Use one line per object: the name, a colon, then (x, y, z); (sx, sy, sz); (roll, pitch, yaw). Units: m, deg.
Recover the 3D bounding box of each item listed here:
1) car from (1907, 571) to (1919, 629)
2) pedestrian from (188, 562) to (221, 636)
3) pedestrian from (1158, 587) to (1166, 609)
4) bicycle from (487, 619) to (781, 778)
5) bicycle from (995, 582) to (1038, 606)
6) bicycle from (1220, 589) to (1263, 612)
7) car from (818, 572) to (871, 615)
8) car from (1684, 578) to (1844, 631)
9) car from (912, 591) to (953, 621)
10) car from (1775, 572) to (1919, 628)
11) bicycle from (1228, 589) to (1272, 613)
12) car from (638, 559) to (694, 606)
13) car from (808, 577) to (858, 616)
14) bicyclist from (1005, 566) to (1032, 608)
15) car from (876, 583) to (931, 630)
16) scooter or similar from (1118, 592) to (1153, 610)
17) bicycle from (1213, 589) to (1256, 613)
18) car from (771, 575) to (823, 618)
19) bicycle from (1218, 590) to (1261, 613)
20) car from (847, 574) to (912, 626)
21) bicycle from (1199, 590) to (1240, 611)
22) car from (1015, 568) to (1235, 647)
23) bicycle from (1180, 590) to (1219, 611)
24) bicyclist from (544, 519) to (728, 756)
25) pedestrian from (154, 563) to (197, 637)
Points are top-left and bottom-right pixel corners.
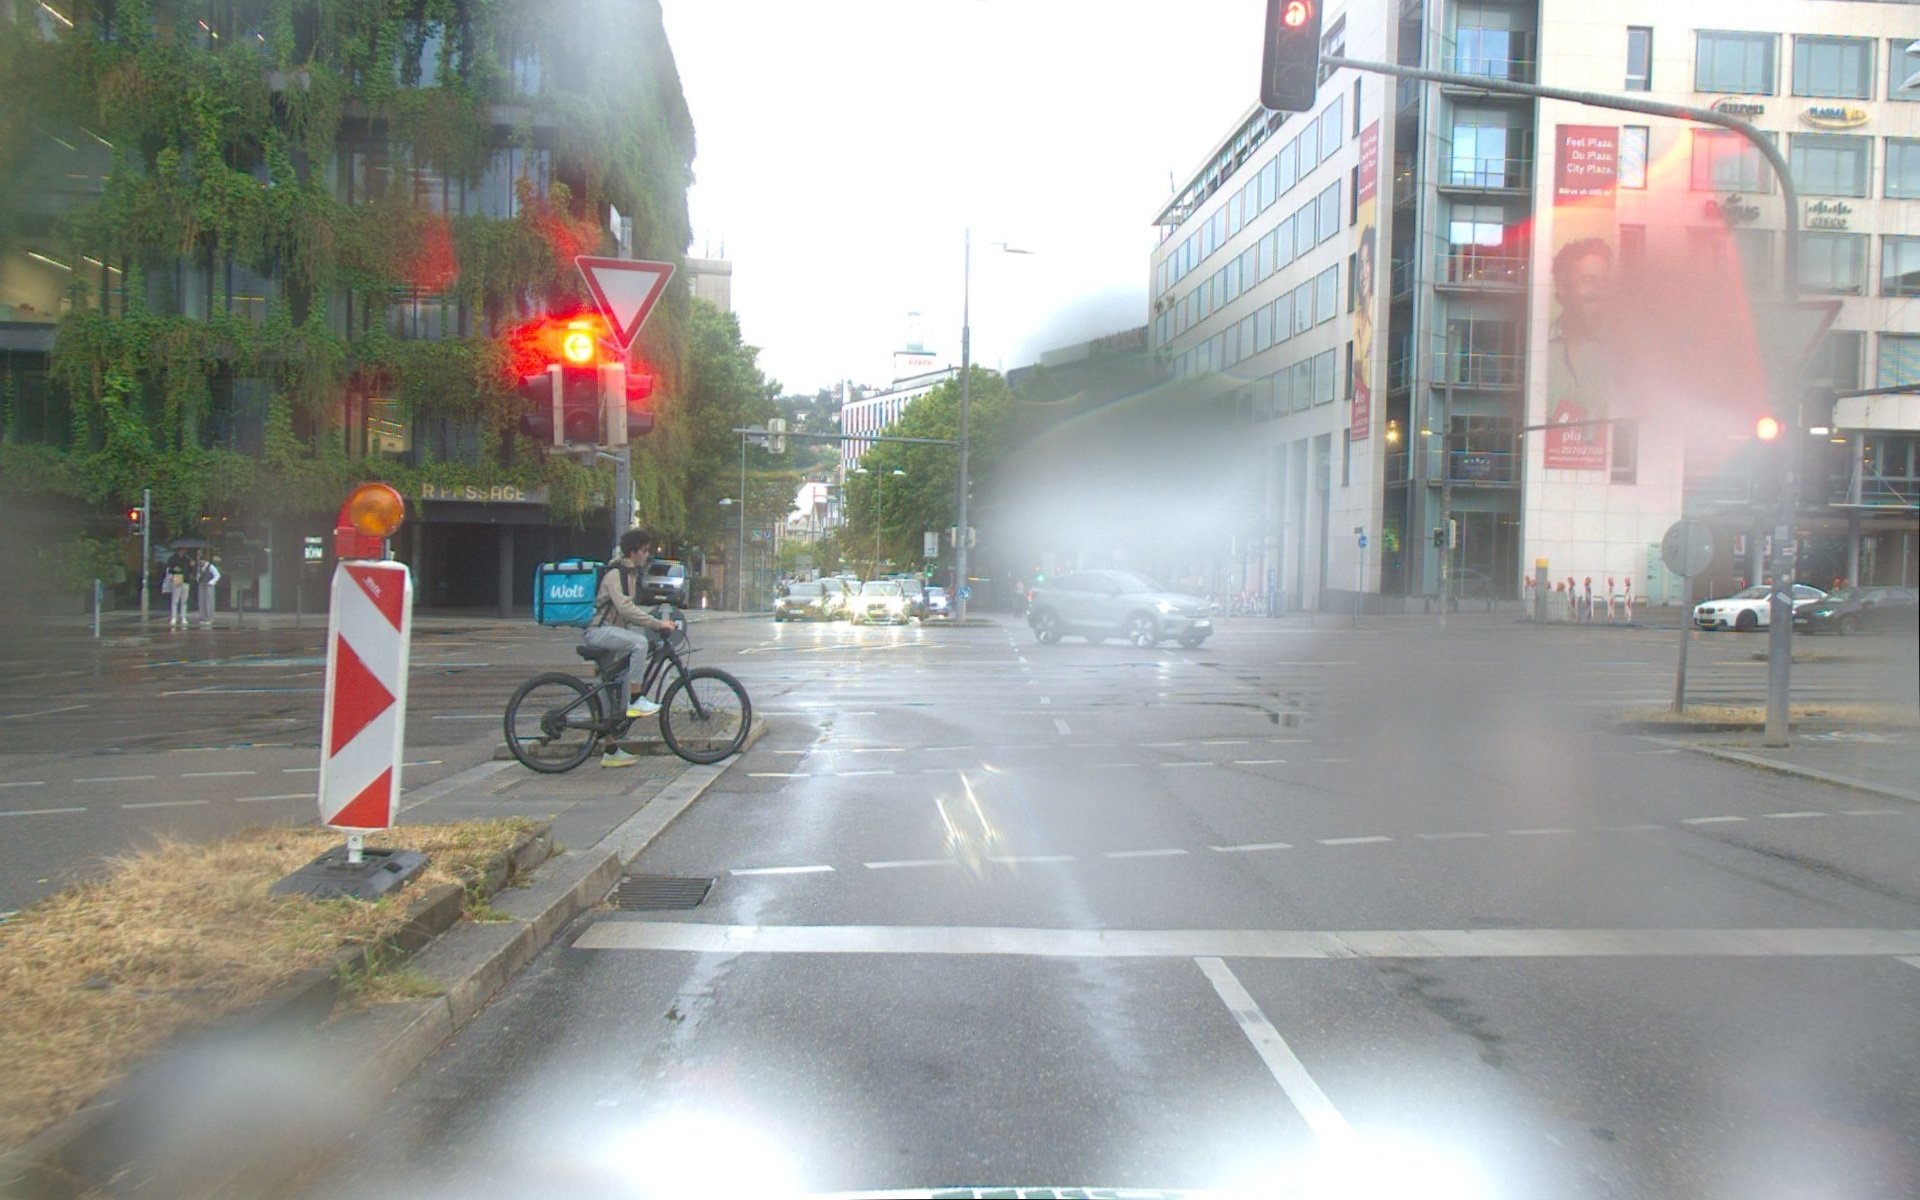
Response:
car: (29.287, 0.013, 46.653); (4.377, 1.626, 1.992); (0, 1, -16)
pedestrian: (-18.675, -0.029, 40.900); (0.731, 1.788, 0.969); (0, 0, -24)
pedestrian: (11.054, -0.108, 90.408); (0.346, 1.194, 0.414); (0, 0, -10)
bicycle: (-2.507, 0.718, 12.724); (2.115, 1.122, 0.843); (0, 1, -22)
bicycle: (2.724, -0.297, 80.494); (0.787, 1.136, 2.222); (0, 1, -41)
bicycle: (11.703, 0.020, 68.710); (1.767, 0.950, 0.473); (1, 1, 41)
car: (-5.204, -0.330, 73.961); (2.133, 1.855, 4.637); (0, 1, -7)
car: (25.436, 0.127, 52.366); (4.378, 1.626, 1.992); (0, 1, -16)
car: (-1.486, 0.291, 87.409); (1.954, 1.469, 4.553); (0, 1, -3)
car: (26.749, -0.009, 49.032); (4.373, 1.626, 1.994); (0, 1, -13)
bicycle: (11.876, 0.025, 67.746); (1.767, 0.950, 0.473); (1, 1, 41)
car: (-12.547, -0.739, 70.838); (1.955, 1.928, 4.461); (0, 1, -5)
car: (-5.172, -0.175, 66.979); (1.821, 1.473, 4.614); (0, 1, -7)
bicyclist: (2.830, -0.650, 80.359); (0.787, 2.009, 1.097); (0, 0, -42)
car: (-2.284, 0.228, 66.060); (1.926, 1.684, 4.359); (0, 2, -6)
scooter or similar: (8.779, 0.059, 82.642); (1.720, 0.894, 0.486); (0, 0, -20)
bicycle: (11.129, 0.029, 67.093); (1.767, 0.950, 0.473); (1, 1, 41)
car: (-5.952, -0.164, 60.566); (1.820, 1.473, 4.616); (0, 1, -5)
bicycle: (11.729, 0.054, 69.455); (1.767, 0.950, 0.473); (1, 1, 41)
car: (-2.556, -0.039, 53.495); (1.953, 1.512, 4.464); (0, 2, -1)
bicycle: (11.590, 0.020, 73.781); (1.757, 0.950, 0.475); (0, 0, 2)
car: (3.479, 0.110, 35.414); (1.985, 1.577, 4.481); (0, 1, -45)
bicycle: (10.947, 0.005, 75.620); (1.757, 0.950, 0.475); (0, 0, 2)
bicyclist: (-2.500, 0.267, 12.720); (1.276, 1.733, 0.843); (0, 0, -20)
pedestrian: (-19.221, -0.003, 40.536); (0.923, 1.788, 1.163); (0, 0, -24)
